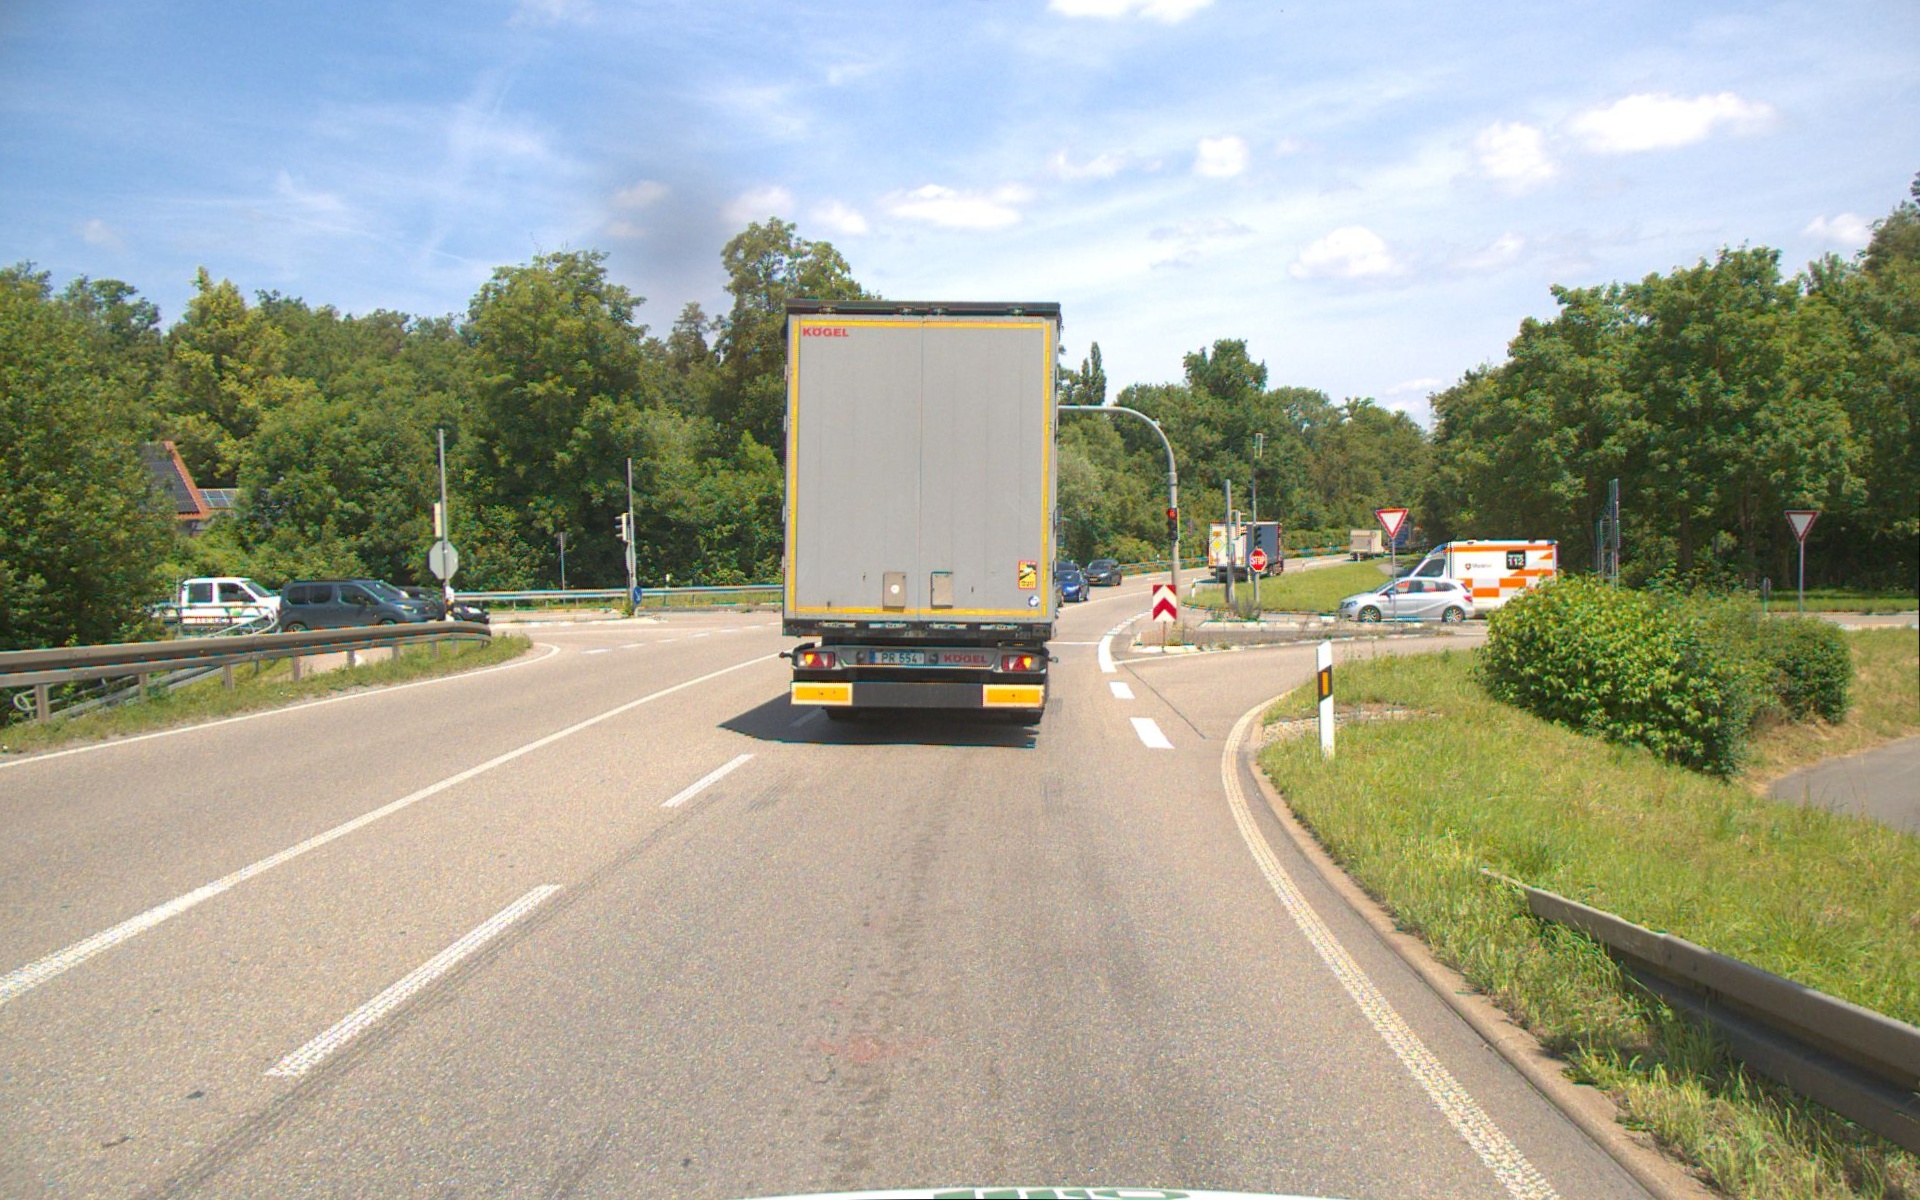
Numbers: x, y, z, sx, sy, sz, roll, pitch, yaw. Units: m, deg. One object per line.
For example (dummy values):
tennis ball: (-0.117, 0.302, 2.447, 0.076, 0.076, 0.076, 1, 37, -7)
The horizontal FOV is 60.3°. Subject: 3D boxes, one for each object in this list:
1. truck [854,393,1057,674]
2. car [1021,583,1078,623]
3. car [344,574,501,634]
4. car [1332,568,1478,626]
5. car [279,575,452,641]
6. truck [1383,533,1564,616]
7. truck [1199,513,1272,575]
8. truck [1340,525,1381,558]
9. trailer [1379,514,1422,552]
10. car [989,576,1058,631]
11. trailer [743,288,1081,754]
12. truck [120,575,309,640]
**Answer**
truck: (0.055, -1.062, 27.555, 2.975, 4.104, 6.632, 0, 1, 2)
car: (3.624, 0.148, 66.623, 1.951, 1.517, 4.261, 1, -1, 7)
car: (-16.484, 0.118, 50.787, 4.143, 1.801, 2.002, 0, 0, 11)
car: (14.418, -0.087, 53.783, 4.334, 1.748, 2.001, 1, -1, 6)
car: (-16.736, 0.214, 46.658, 4.143, 1.801, 2.002, 0, 0, 11)
truck: (18.043, -0.879, 58.074, 5.887, 2.775, 2.501, 1, -1, 21)
truck: (19.512, -3.889, 116.344, 3.113, 4.099, 11.750, 1, 1, 19)
truck: (39.343, -5.685, 162.193, 2.797, 2.999, 7.103, 1, 1, 23)
trailer: (47.061, -7.102, 176.539, 3.185, 3.749, 9.249, 1, 1, 23)
car: (2.323, 0.171, 59.140, 1.951, 1.816, 4.946, 1, -1, 8)
trailer: (-0.199, -0.874, 20.908, 2.988, 4.103, 12.564, 0, 2, 2)
truck: (-22.460, 0.239, 50.009, 4.789, 1.823, 2.038, 1, -1, -11)
